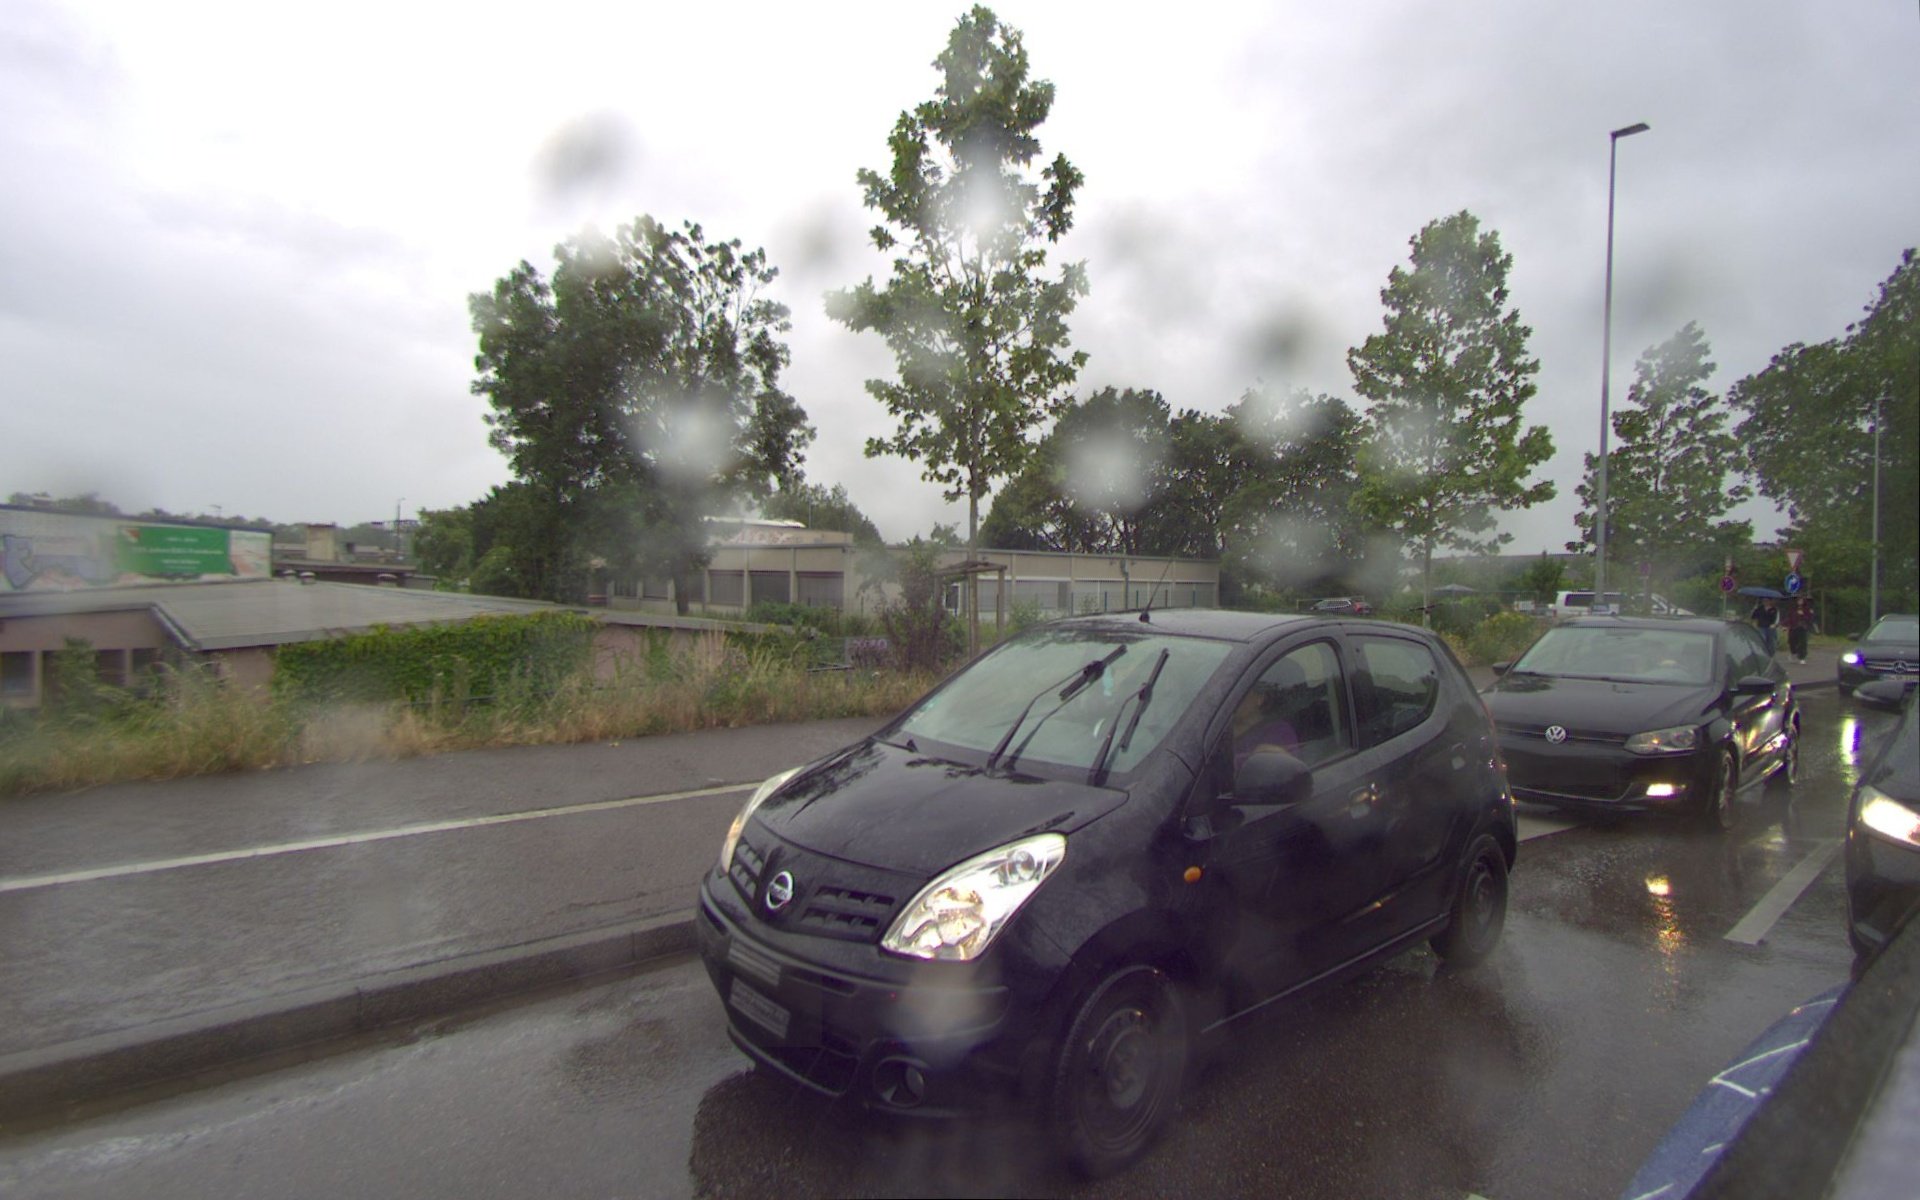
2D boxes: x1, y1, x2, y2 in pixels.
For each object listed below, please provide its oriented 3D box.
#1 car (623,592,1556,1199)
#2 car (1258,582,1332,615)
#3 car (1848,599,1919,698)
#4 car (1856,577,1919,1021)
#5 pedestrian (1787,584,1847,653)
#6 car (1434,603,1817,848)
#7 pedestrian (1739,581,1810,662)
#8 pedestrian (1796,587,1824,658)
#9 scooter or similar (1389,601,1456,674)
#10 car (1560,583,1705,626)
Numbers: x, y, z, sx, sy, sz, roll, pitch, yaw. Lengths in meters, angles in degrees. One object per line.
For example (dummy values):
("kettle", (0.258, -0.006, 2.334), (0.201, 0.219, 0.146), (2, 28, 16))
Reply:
("car", (0.766, 0.714, 3.878), (3.561, 1.447, 1.631), (0, 0, -42))
("car", (20.998, -0.107, 63.473), (1.964, 2.039, 3.996), (0, 0, -38))
("car", (17.079, 0.792, 17.806), (3.747, 1.594, 1.697), (-1, 0, -41))
("car", (5.445, 0.701, 4.485), (4.091, 1.607, 1.688), (-1, 0, -41))
("pedestrian", (22.649, 0.469, 26.753), (0.876, 1.729, 1.024), (0, 3, -41))
("car", (5.256, 0.757, 7.830), (3.561, 1.447, 1.631), (0, 0, -42))
("pedestrian", (18.826, 0.460, 23.385), (0.953, 1.777, 1.081), (0, 3, -42))
("pedestrian", (20.447, 0.528, 24.340), (0.433, 1.682, 0.400), (0, 3, -42))
("scooter or similar", (7.900, 0.612, 17.244), (1.747, 1.144, 0.380), (-1, 2, -43))
("car", (28.052, 0.153, 42.339), (1.966, 1.670, 4.752), (-1, 1, -42))
